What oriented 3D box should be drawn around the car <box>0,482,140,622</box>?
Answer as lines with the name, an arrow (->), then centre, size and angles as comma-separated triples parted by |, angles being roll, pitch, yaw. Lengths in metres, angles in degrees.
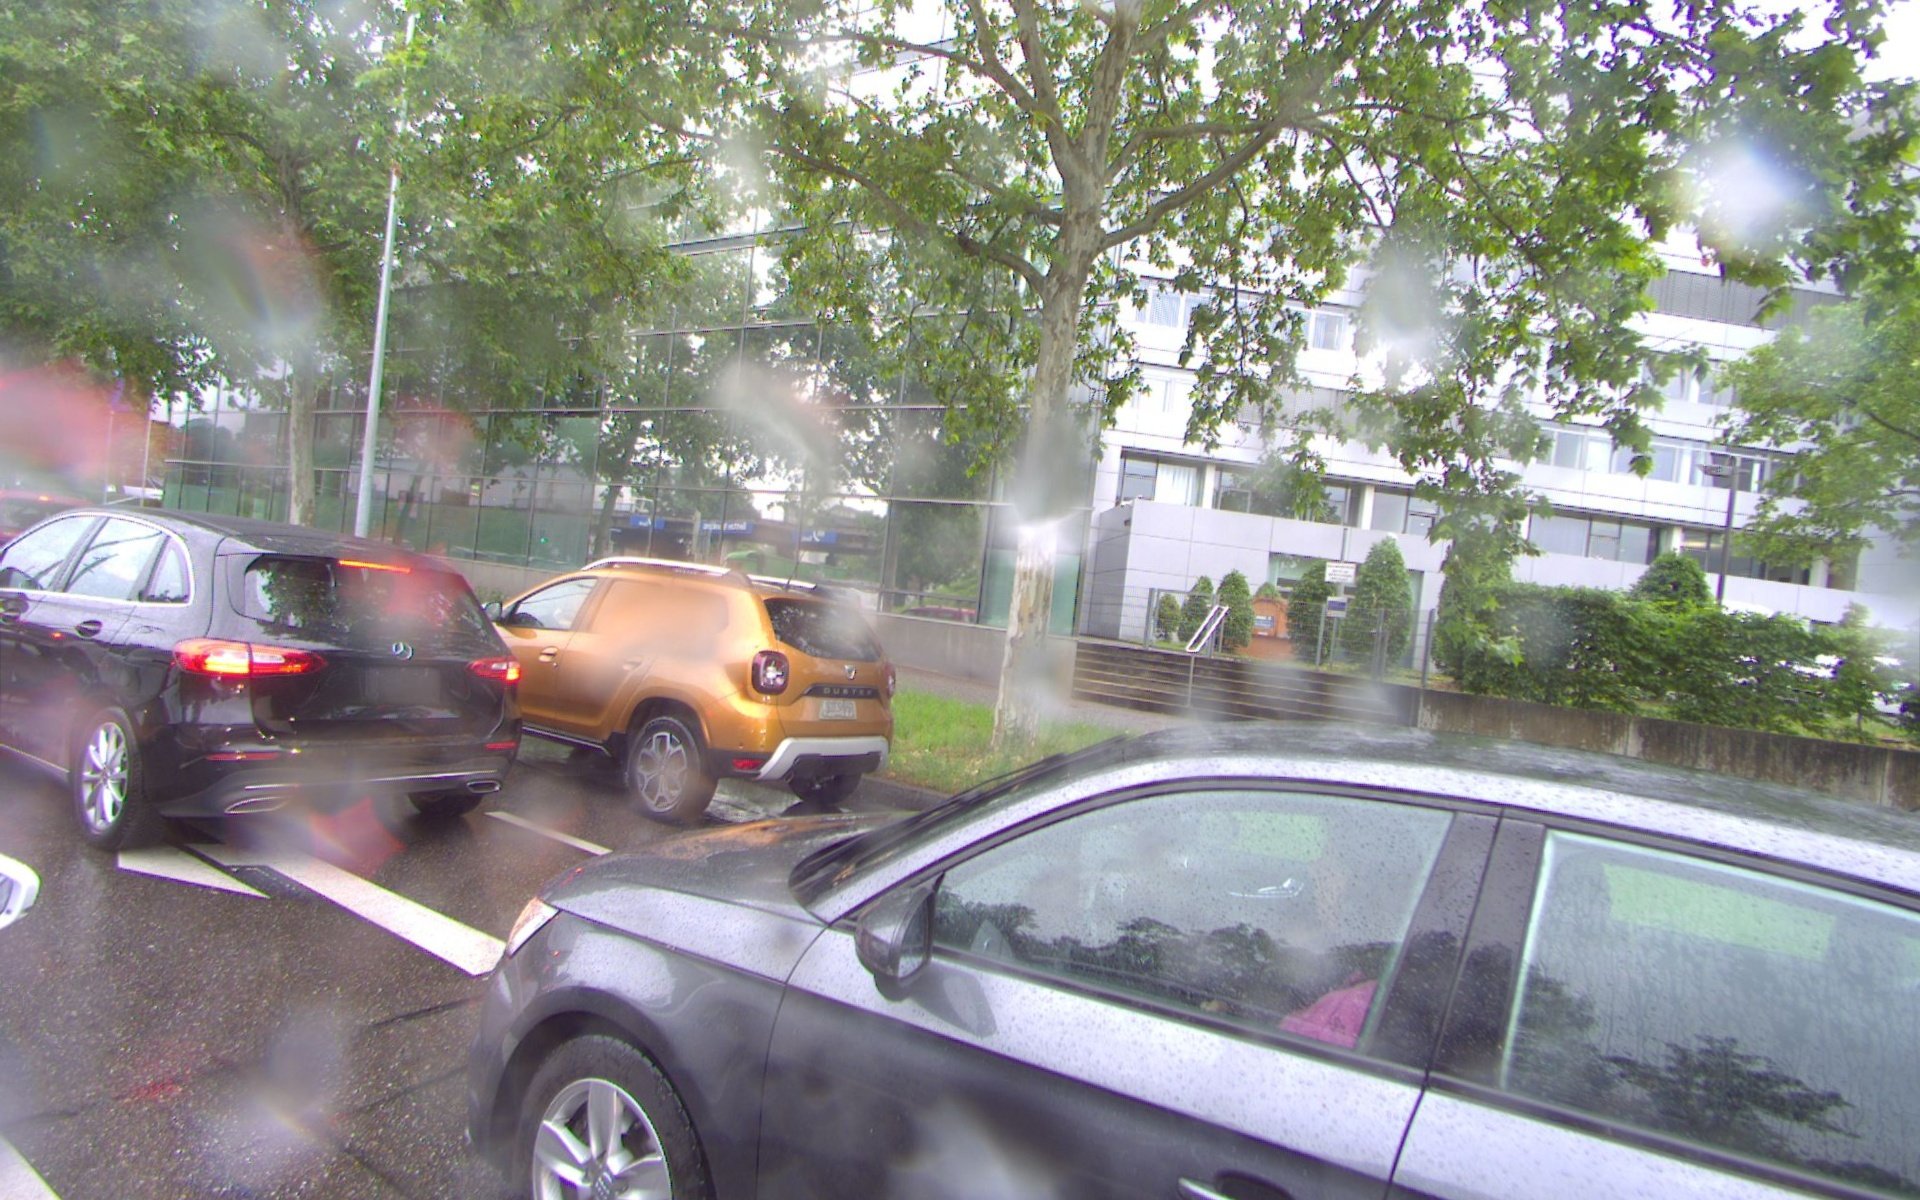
car -> -14.074, -0.808, 14.794 | 4.201, 1.714, 1.714 | 6, -2, 32

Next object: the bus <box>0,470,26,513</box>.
bus -> -84.377, -9.684, 82.089 | 2.437, 3.465, 12.009 | 7, 0, 20

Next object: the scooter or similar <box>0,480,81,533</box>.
scooter or similar -> -54.529, -5.529, 58.142 | 5.228, 2.476, 1.893 | 7, 0, -9

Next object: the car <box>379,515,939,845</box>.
car -> -2.416, 0.478, 7.764 | 4.079, 1.704, 1.679 | 8, -2, 32

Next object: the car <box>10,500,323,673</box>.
car -> -8.976, -0.166, 11.350 | 3.332, 1.480, 1.572 | 7, -1, 31

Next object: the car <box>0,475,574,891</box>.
car -> -4.345, 0.245, 5.756 | 4.022, 1.573, 1.751 | 7, -1, 31

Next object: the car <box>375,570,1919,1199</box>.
car -> 0.726, 0.909, 2.083 | 3.718, 1.445, 1.679 | 7, -1, 31
